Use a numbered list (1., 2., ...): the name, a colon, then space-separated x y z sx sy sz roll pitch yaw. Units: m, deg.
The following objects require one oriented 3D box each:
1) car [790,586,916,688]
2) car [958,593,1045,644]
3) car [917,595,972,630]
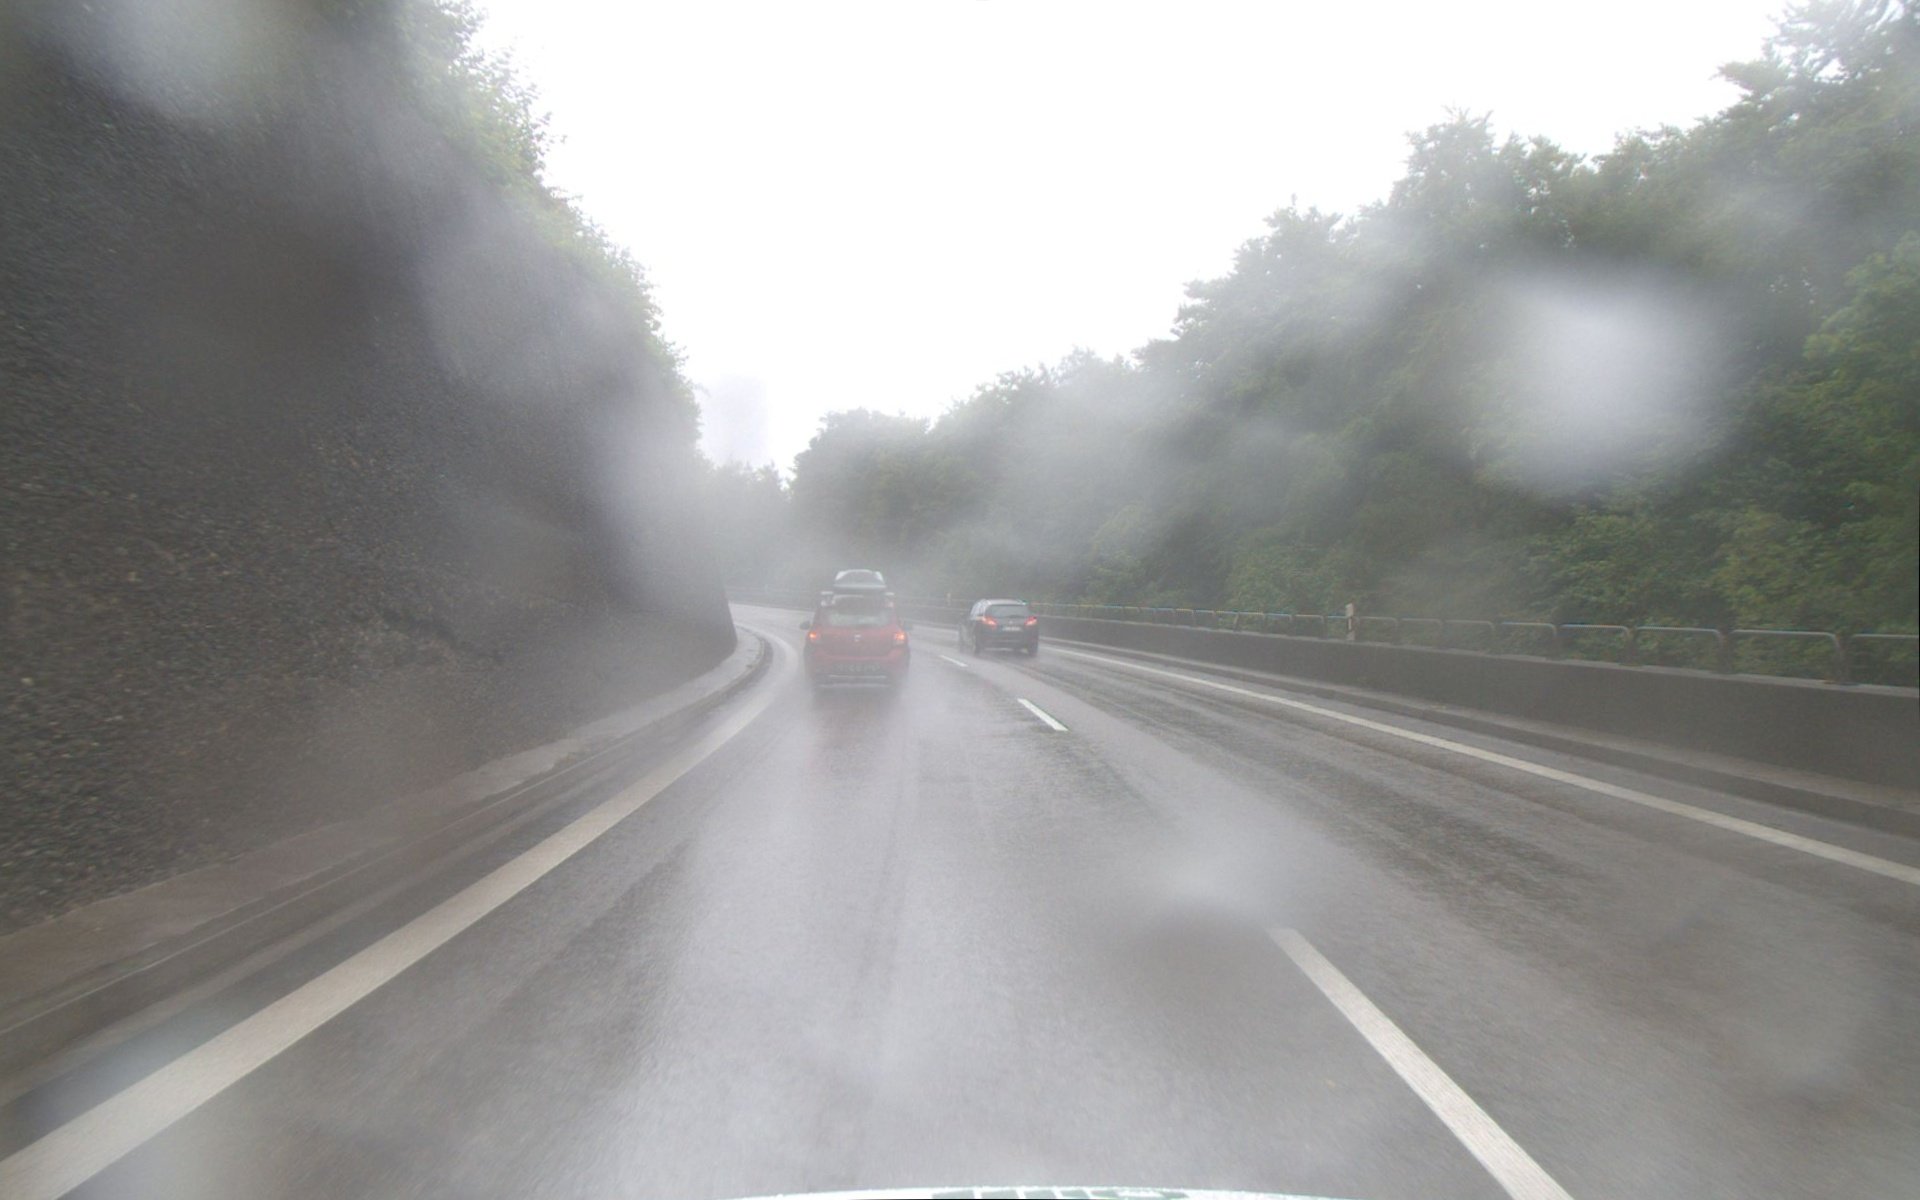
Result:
1. car: -1.804 0.587 28.004 1.954 1.579 3.997 1 0 -4
2. car: 1.097 0.498 45.981 1.767 1.330 3.992 1 0 -8
3. car: -0.778 0.582 79.090 1.958 1.579 3.989 1 1 -11
